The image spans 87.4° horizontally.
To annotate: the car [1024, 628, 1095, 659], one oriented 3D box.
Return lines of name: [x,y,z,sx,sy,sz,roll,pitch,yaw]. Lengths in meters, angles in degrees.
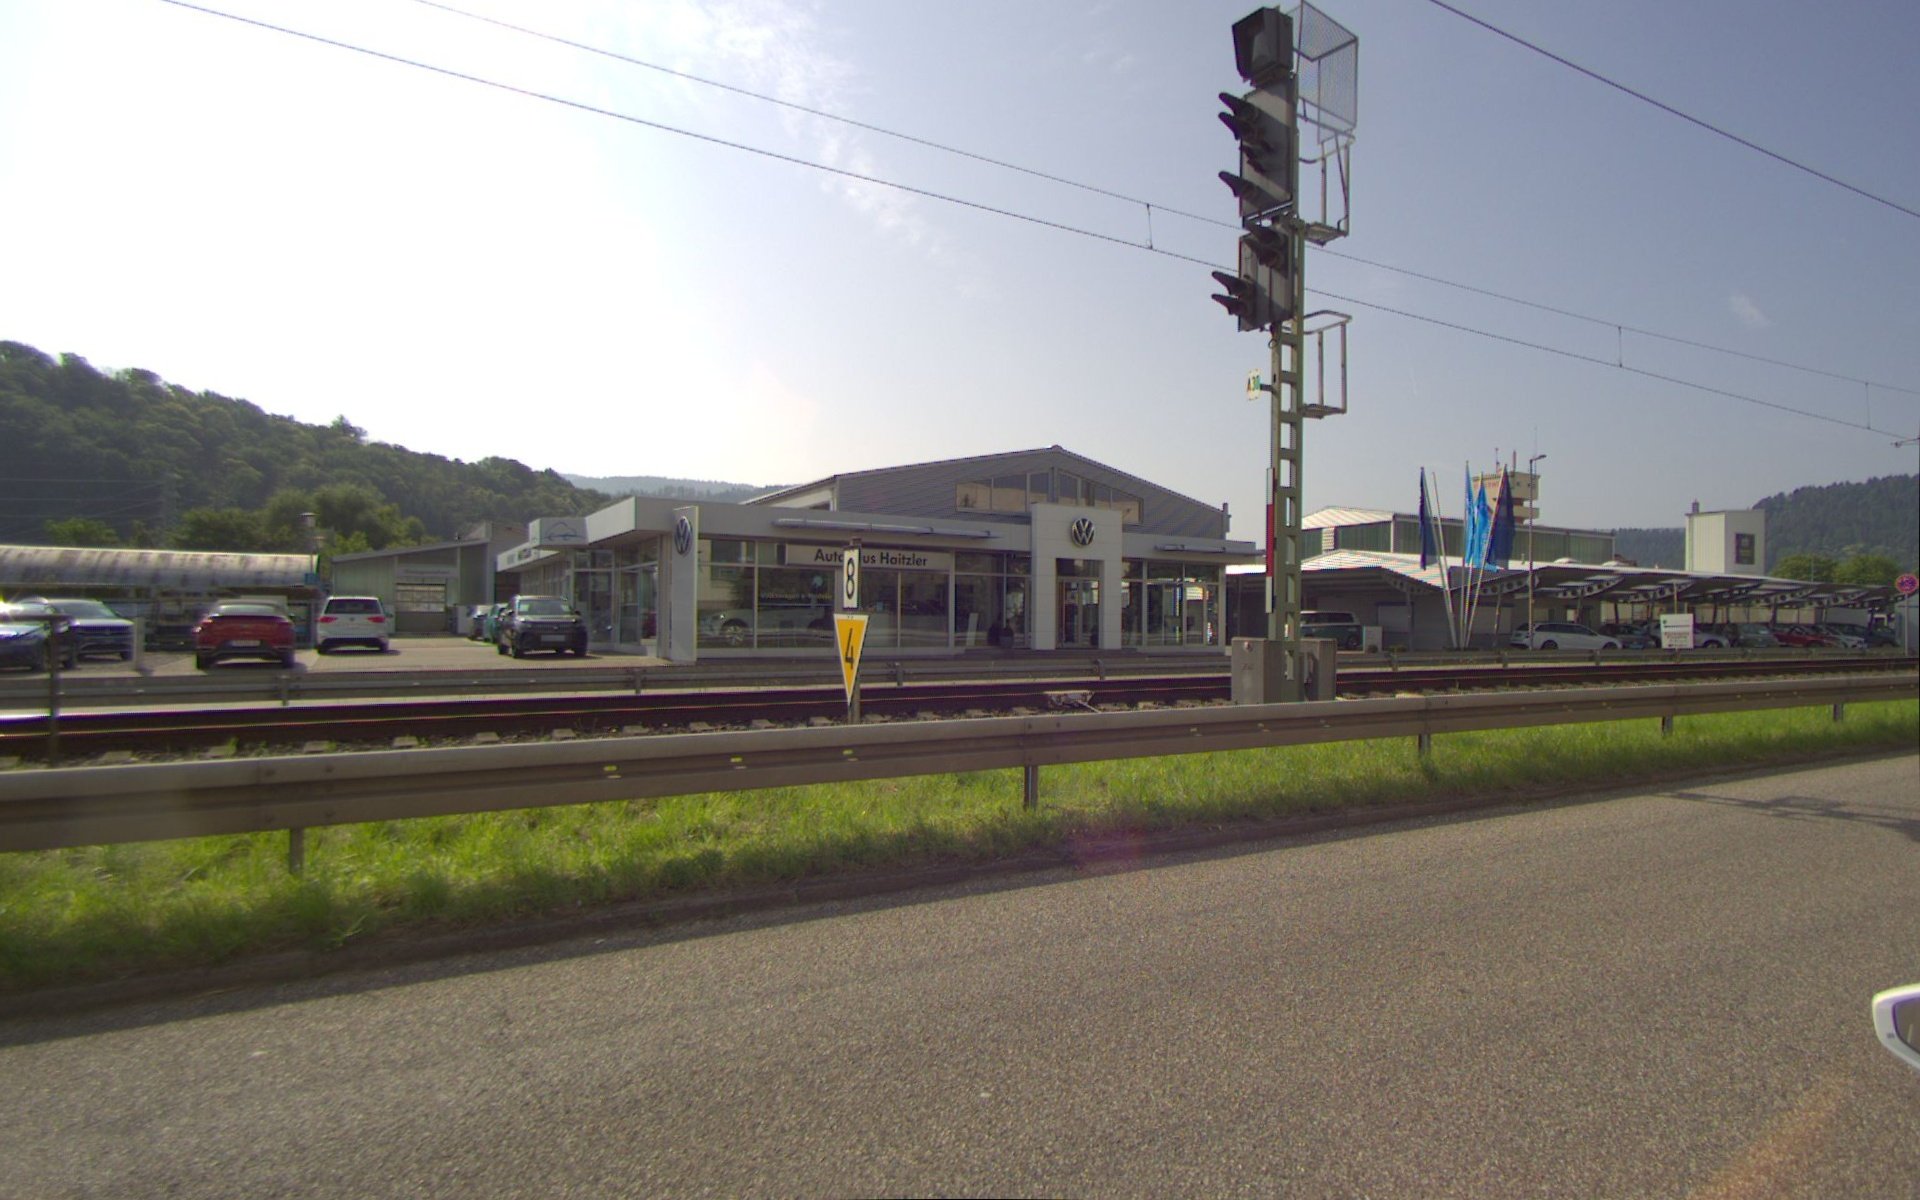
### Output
car: [5.007,2.188,51.089,1.601,1.439,3.967,1,-1,-31]

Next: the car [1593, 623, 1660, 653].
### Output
car: [31.638,1.777,47.804,1.811,1.360,4.207,0,-1,21]

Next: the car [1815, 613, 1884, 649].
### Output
car: [72.838,2.558,82.232,6.085,2.667,2.363,3,-2,-28]

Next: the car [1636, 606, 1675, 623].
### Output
car: [55.954,1.185,80.835,3.451,1.315,1.444,1,-1,-34]

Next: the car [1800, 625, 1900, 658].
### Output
car: [52.188,2.424,58.976,3.950,1.644,1.663,2,2,16]

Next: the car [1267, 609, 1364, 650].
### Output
car: [17.226,1.409,48.641,4.496,1.882,1.891,1,-1,-28]

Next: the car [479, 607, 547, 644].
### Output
car: [-17.625,0.997,39.530,1.841,1.393,3.963,1,-1,-33]

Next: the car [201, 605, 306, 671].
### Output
car: [-16.346,0.847,23.339,1.842,1.393,3.962,1,-1,-34]

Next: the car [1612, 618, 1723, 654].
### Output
car: [35.673,1.791,50.761,4.189,1.548,1.846,3,2,23]

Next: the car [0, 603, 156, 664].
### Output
car: [-22.996,0.829,25.738,3.919,1.479,1.761,0,-1,15]

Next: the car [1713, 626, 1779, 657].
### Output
car: [42.014,2.199,53.805,1.812,1.525,4.431,0,-1,25]

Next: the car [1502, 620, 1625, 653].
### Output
car: [27.119,1.643,45.248,4.432,1.404,1.848,1,-1,3]

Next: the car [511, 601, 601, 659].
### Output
car: [-11.257,0.806,27.848,1.839,1.479,3.969,1,-1,-29]

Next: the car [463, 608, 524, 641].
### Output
car: [-20.406,1.066,43.851,1.841,1.393,3.963,1,-1,-33]

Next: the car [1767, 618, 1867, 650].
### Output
car: [48.356,1.891,56.766,1.642,1.548,3.939,1,2,-28]

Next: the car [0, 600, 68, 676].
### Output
car: [-19.941,0.761,21.029,1.746,1.479,3.954,1,-2,-40]

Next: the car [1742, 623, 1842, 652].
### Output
car: [46.019,2.056,55.641,1.483,1.343,3.939,1,2,-28]

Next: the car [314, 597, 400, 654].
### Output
car: [-18.061,0.738,30.026,1.980,1.602,3.962,1,-1,-34]
